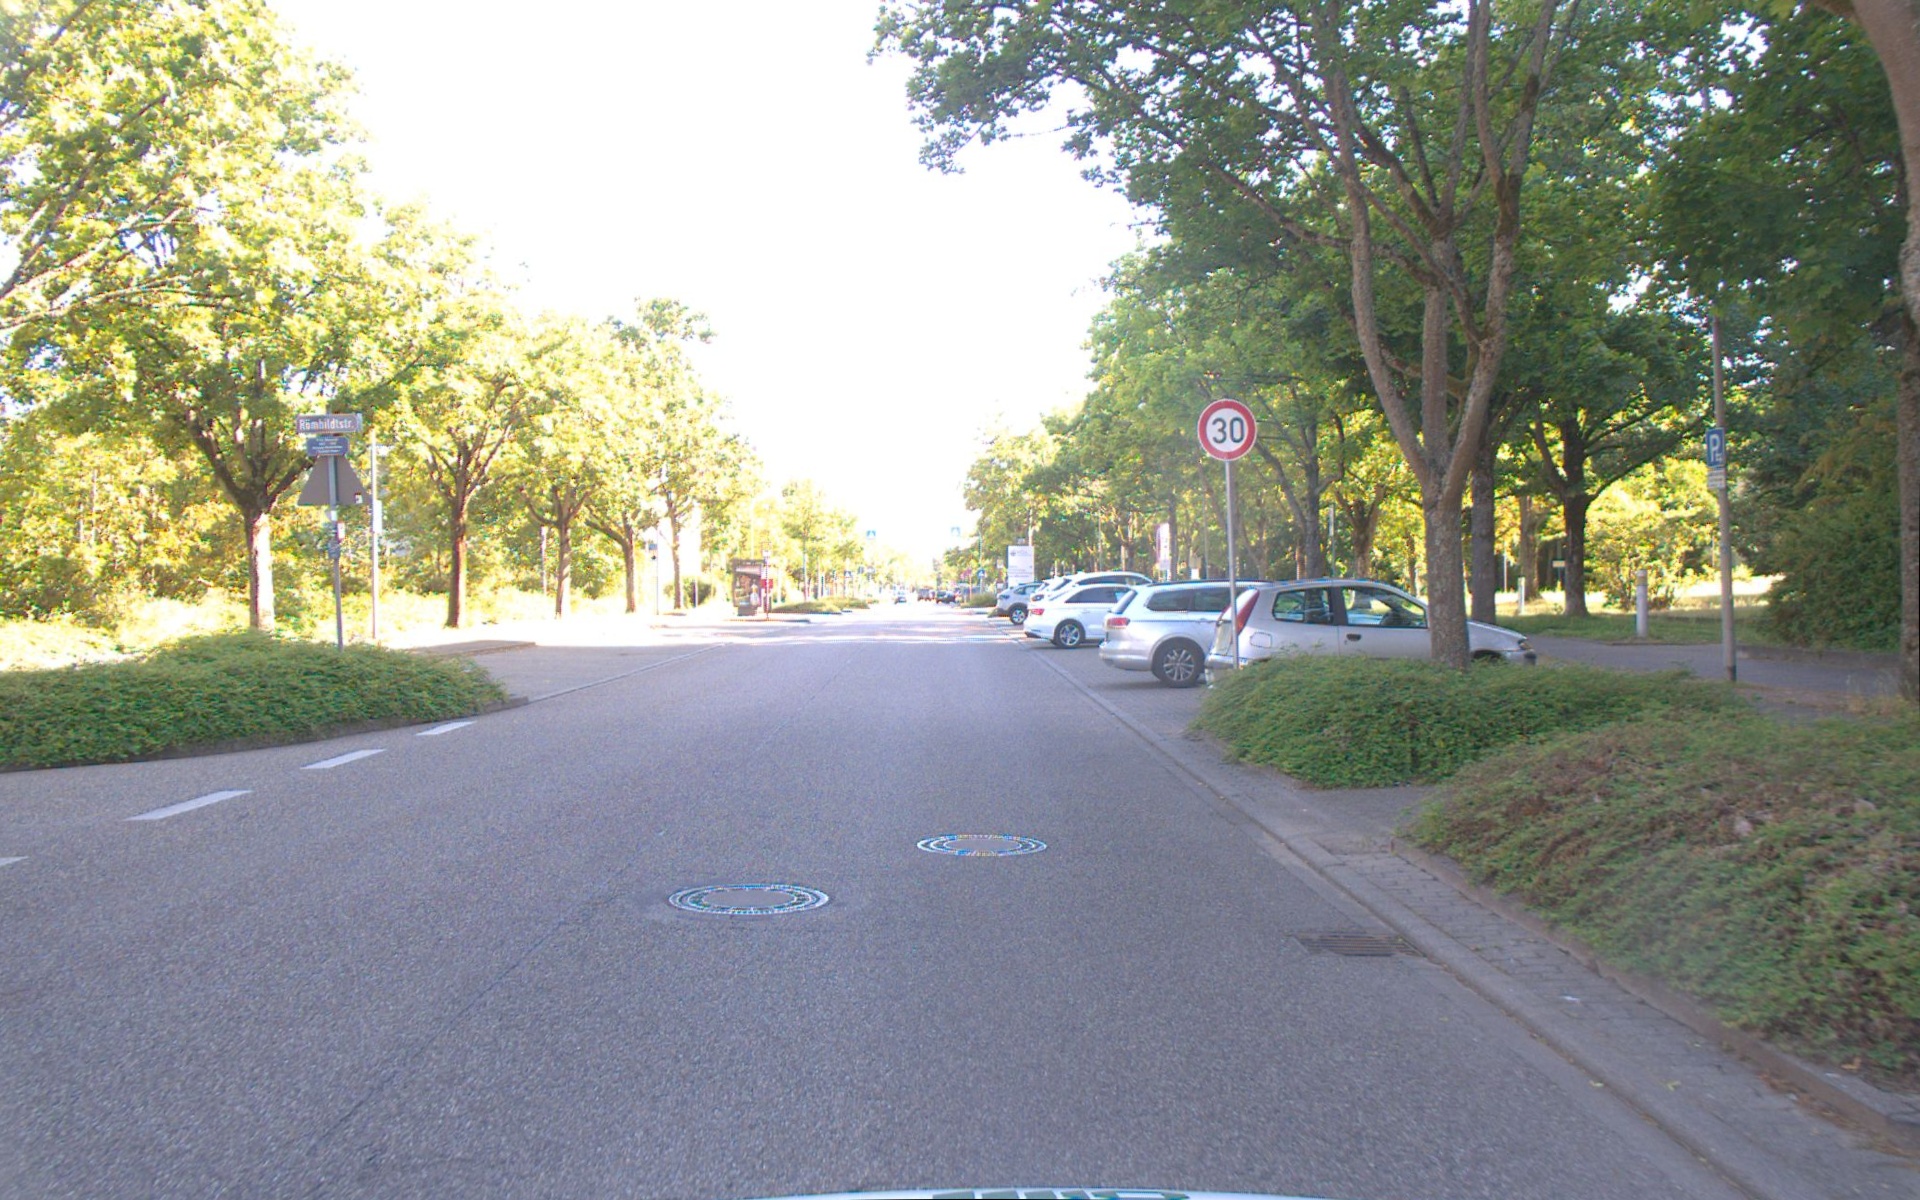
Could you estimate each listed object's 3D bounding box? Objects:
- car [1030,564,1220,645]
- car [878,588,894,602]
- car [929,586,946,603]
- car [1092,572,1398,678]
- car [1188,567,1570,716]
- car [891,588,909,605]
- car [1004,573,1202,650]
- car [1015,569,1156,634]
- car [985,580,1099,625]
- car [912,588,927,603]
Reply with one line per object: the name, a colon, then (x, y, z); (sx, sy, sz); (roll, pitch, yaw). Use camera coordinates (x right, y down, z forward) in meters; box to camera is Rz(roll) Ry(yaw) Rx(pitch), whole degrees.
car: (3.987, 0.085, 40.469); (4.347, 1.676, 1.815); (-3, 1, -3)
car: (-9.765, -0.697, 217.215); (1.953, 1.833, 4.000); (0, 0, -1)
car: (-2.729, -0.689, 199.985); (1.953, 2.049, 4.000); (0, 0, -1)
car: (4.007, 0.346, 23.824); (4.185, 1.453, 1.828); (0, 0, 3)
car: (4.726, 0.444, 19.023); (3.906, 1.476, 1.717); (-2, 1, -1)
car: (-6.264, -0.378, 173.882); (1.791, 1.806, 3.739); (0, 0, -1)
car: (3.219, 0.245, 37.753); (4.256, 1.515, 1.737); (-3, 0, -3)
car: (3.410, 0.037, 45.235); (3.615, 1.549, 1.650); (-3, 1, -3)
car: (3.054, 0.088, 62.117); (4.080, 1.453, 2.000); (-3, 0, -1)
car: (-5.610, -0.633, 229.597); (1.953, 2.049, 4.000); (0, 0, -1)
